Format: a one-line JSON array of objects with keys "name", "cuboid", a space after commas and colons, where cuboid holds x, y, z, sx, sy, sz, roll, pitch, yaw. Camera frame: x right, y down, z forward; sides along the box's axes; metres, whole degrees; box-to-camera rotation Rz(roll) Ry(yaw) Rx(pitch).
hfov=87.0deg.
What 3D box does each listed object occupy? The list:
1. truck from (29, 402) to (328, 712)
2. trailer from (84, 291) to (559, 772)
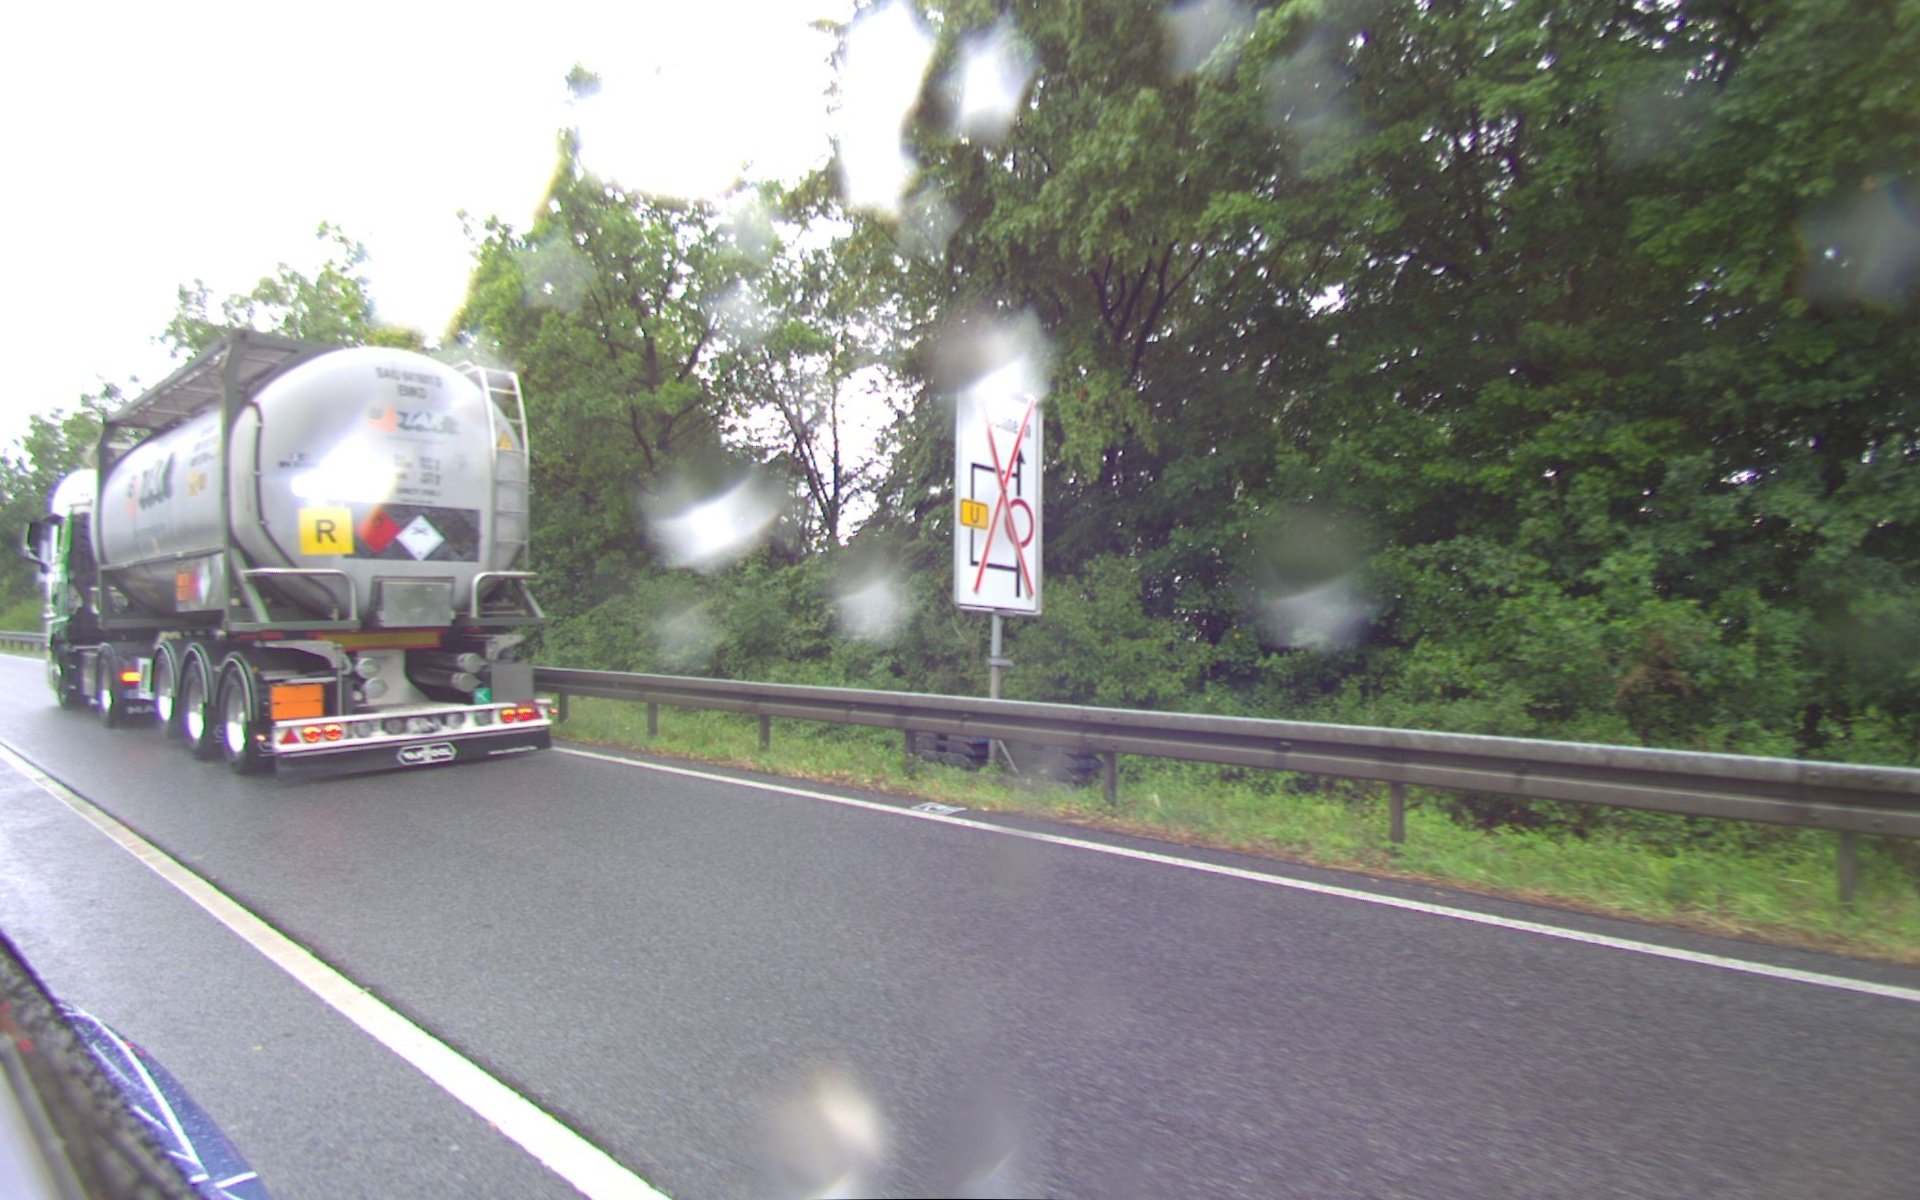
[{"name": "truck", "cuboid": [-11.882, -0.537, 15.249, 5.241, 3.854, 2.510, 0, 0, 40]}, {"name": "trailer", "cuboid": [-7.725, -0.551, 11.646, 7.788, 3.854, 2.510, 0, 0, 41]}]
